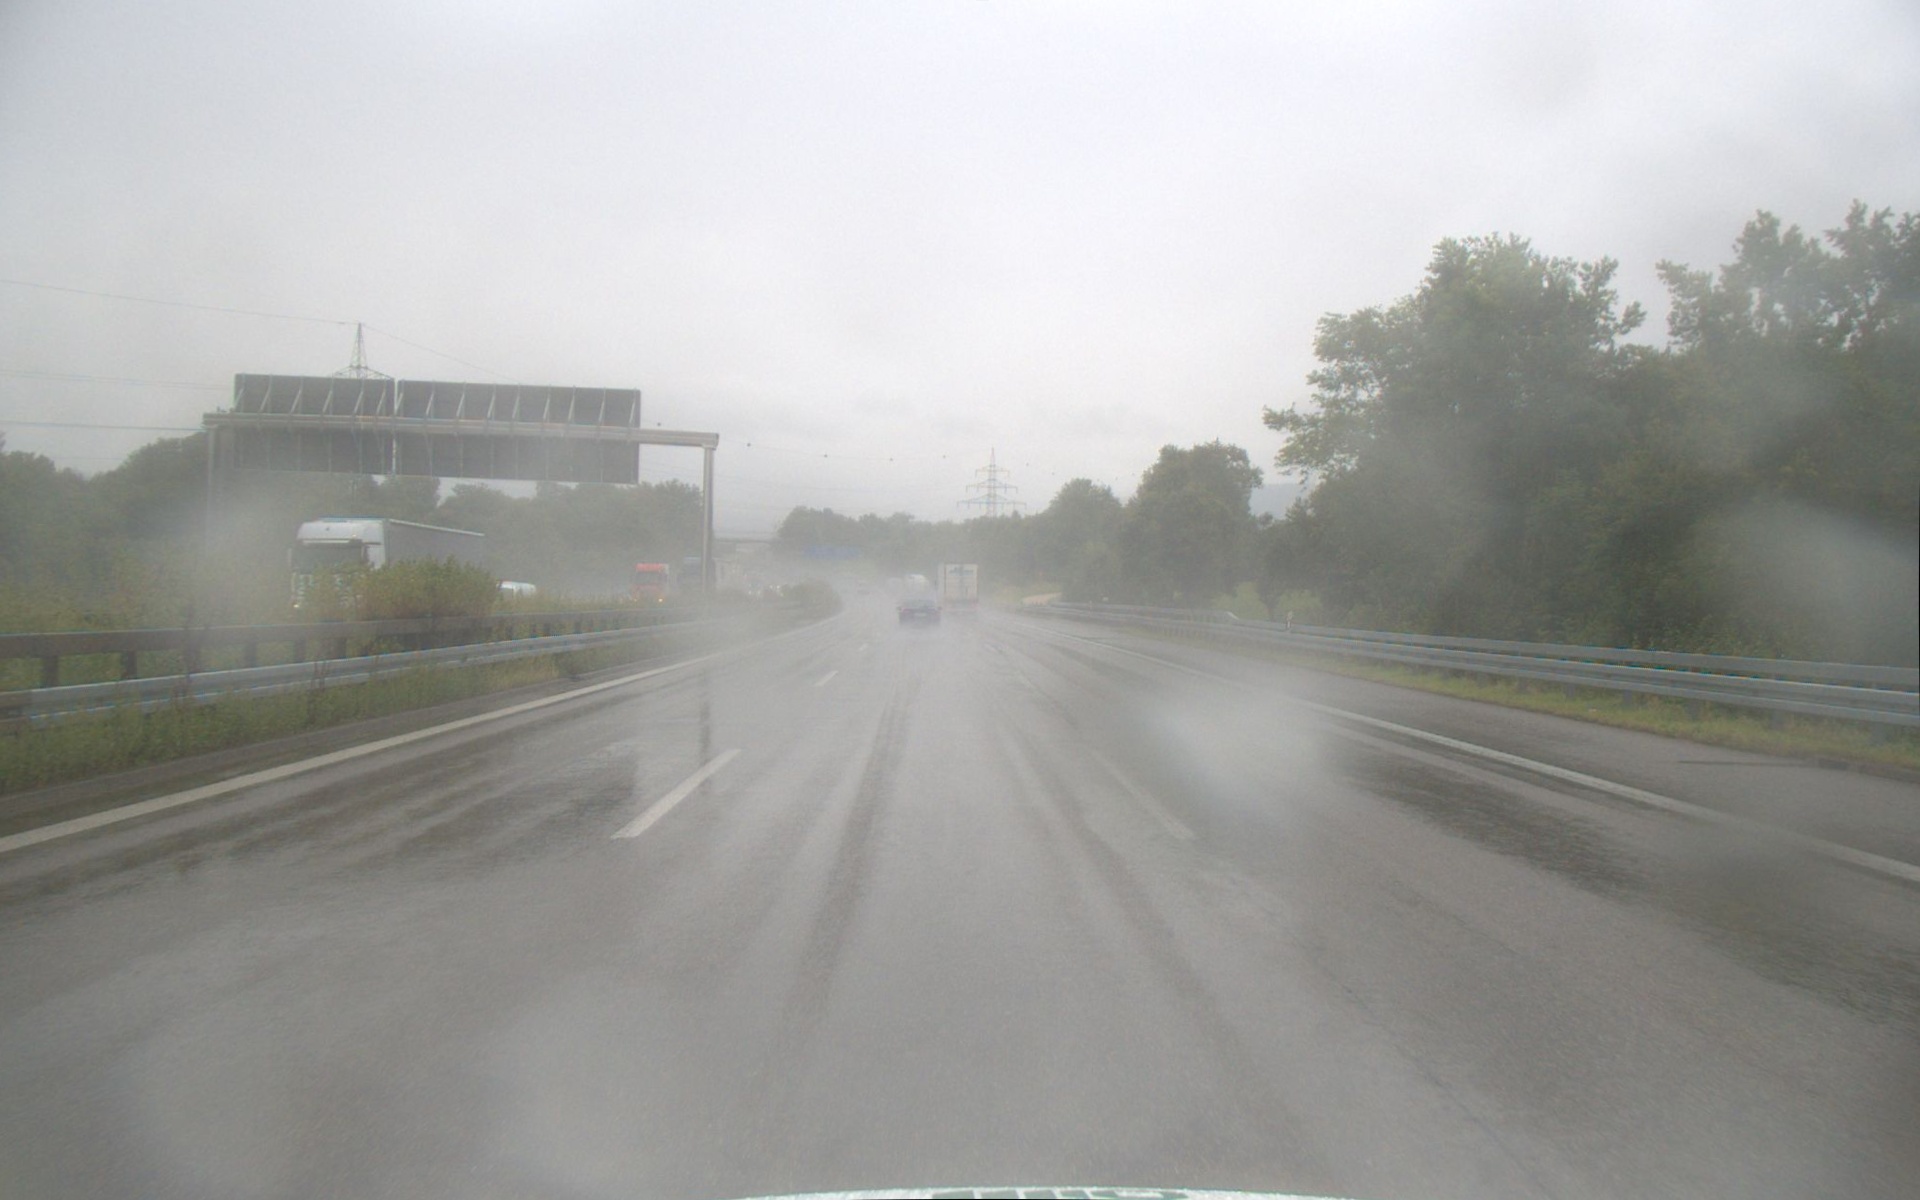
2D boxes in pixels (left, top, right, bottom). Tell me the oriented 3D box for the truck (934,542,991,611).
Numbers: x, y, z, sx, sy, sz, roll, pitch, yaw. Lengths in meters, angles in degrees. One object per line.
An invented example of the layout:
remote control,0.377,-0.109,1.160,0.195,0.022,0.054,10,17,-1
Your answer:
truck,0.184,-1.843,130.744,4.169,5.059,17.340,0,1,0

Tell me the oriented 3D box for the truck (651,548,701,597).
truck,-23.807,-2.305,139.043,2.849,3.785,6.508,4,0,-1

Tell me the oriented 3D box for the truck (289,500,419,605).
truck,-21.459,-1.628,58.853,2.613,3.476,5.526,2,0,-2

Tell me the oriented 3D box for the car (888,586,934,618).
car,-2.043,0.070,69.797,1.713,1.233,4.000,3,0,1
